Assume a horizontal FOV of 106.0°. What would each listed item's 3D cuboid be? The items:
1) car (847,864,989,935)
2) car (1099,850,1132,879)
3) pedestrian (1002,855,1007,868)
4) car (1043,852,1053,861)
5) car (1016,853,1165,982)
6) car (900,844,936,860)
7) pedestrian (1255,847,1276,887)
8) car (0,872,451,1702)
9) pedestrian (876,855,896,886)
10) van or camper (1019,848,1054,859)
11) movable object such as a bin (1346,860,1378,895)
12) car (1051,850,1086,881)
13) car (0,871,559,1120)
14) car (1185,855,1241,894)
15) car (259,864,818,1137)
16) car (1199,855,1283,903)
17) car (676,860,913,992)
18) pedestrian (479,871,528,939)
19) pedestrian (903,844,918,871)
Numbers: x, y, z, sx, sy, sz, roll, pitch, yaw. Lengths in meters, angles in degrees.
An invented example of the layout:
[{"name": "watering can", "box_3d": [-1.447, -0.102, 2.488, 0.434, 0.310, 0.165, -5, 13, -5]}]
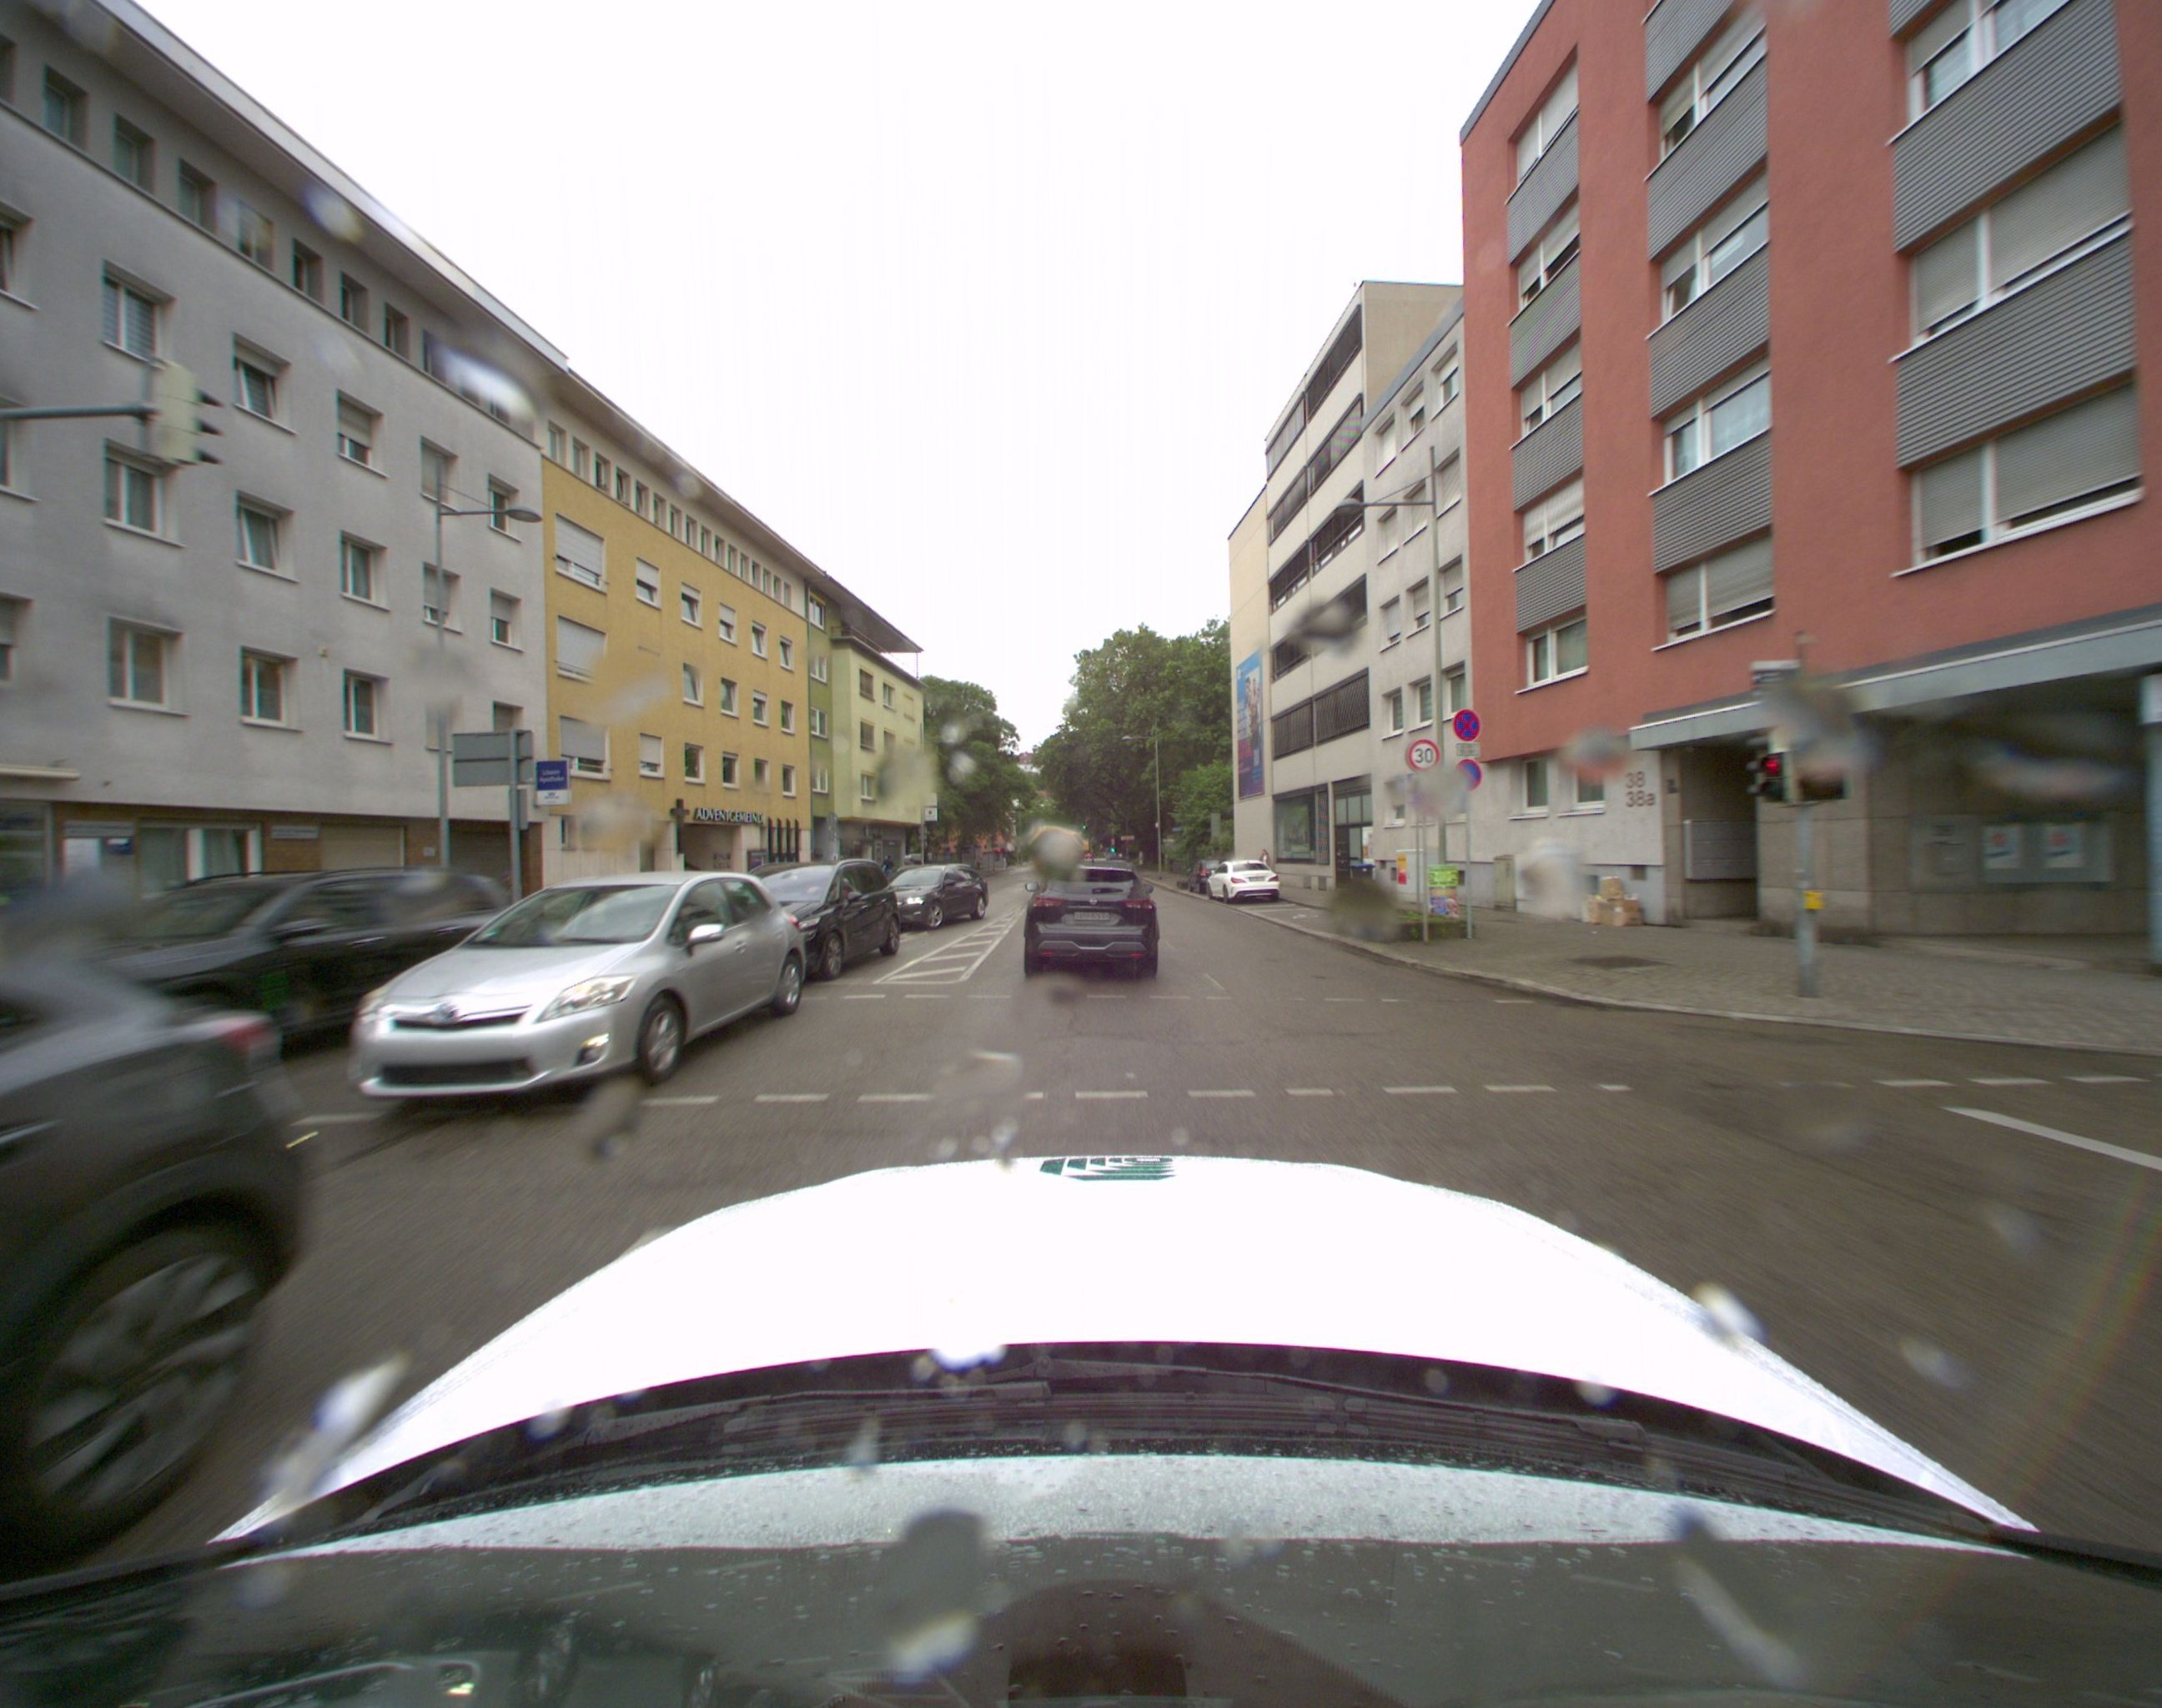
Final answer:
[{"name": "car", "box_3d": [-3.749, 1.013, 19.593, 1.809, 1.433, 4.411, -2, 0, 10]}, {"name": "car", "box_3d": [2.363, 0.711, 56.749, 1.941, 1.816, 3.996, -3, 0, -2]}, {"name": "pedestrian", "box_3d": [-10.409, 1.014, 110.872, 0.666, 1.791, 0.720, 1, 1, -8]}, {"name": "car", "box_3d": [-6.957, 0.442, 173.196, 1.815, 1.796, 3.866, 1, 1, 0]}, {"name": "car", "box_3d": [0.050, 0.814, 12.355, 1.890, 1.629, 3.996, 0, 0, -2]}, {"name": "car", "box_3d": [-19.061, -0.248, 95.236, 3.824, 1.734, 1.878, 1, 1, -3]}, {"name": "pedestrian", "box_3d": [8.342, 0.576, 36.818, 0.612, 1.737, 0.679, -3, 0, -8]}, {"name": "car", "box_3d": [-2.902, 0.866, 0.657, 1.855, 1.553, 4.215, -1, 0, -7]}, {"name": "pedestrian", "box_3d": [-11.454, 0.952, 47.953, 0.861, 1.788, 0.876, 1, 0, 5]}, {"name": "van or camper", "box_3d": [-14.182, -0.133, 260.618, 10.903, 3.557, 3.182, 1, 1, -3]}, {"name": "movable object such as a bin", "box_3d": [9.078, 0.750, 26.323, 0.712, 1.068, 0.782, -1, 1, -7]}, {"name": "car", "box_3d": [-0.684, 0.680, 48.986, 1.939, 1.685, 4.000, -3, 0, 0]}, {"name": "car", "box_3d": [-7.452, 1.042, 7.853, 1.813, 1.640, 4.377, -2, 0, 3]}, {"name": "car", "box_3d": [5.590, 0.814, 34.933, 1.709, 1.442, 4.081, -3, 1, 0]}, {"name": "car", "box_3d": [-3.866, 0.881, 6.871, 1.928, 1.527, 4.133, -1, 0, -1]}, {"name": "car", "box_3d": [5.486, 0.813, 28.504, 1.770, 1.401, 4.574, -3, 1, -3]}, {"name": "car", "box_3d": [-4.068, 0.922, 12.453, 1.813, 1.608, 4.434, -2, 0, 3]}, {"name": "pedestrian", "box_3d": [-14.095, 1.232, 19.887, 0.683, 1.581, 0.653, 1, 1, 6]}, {"name": "pedestrian", "box_3d": [-10.933, 0.218, 52.259, 0.796, 1.688, 0.817, -1, 0, -2]}]
